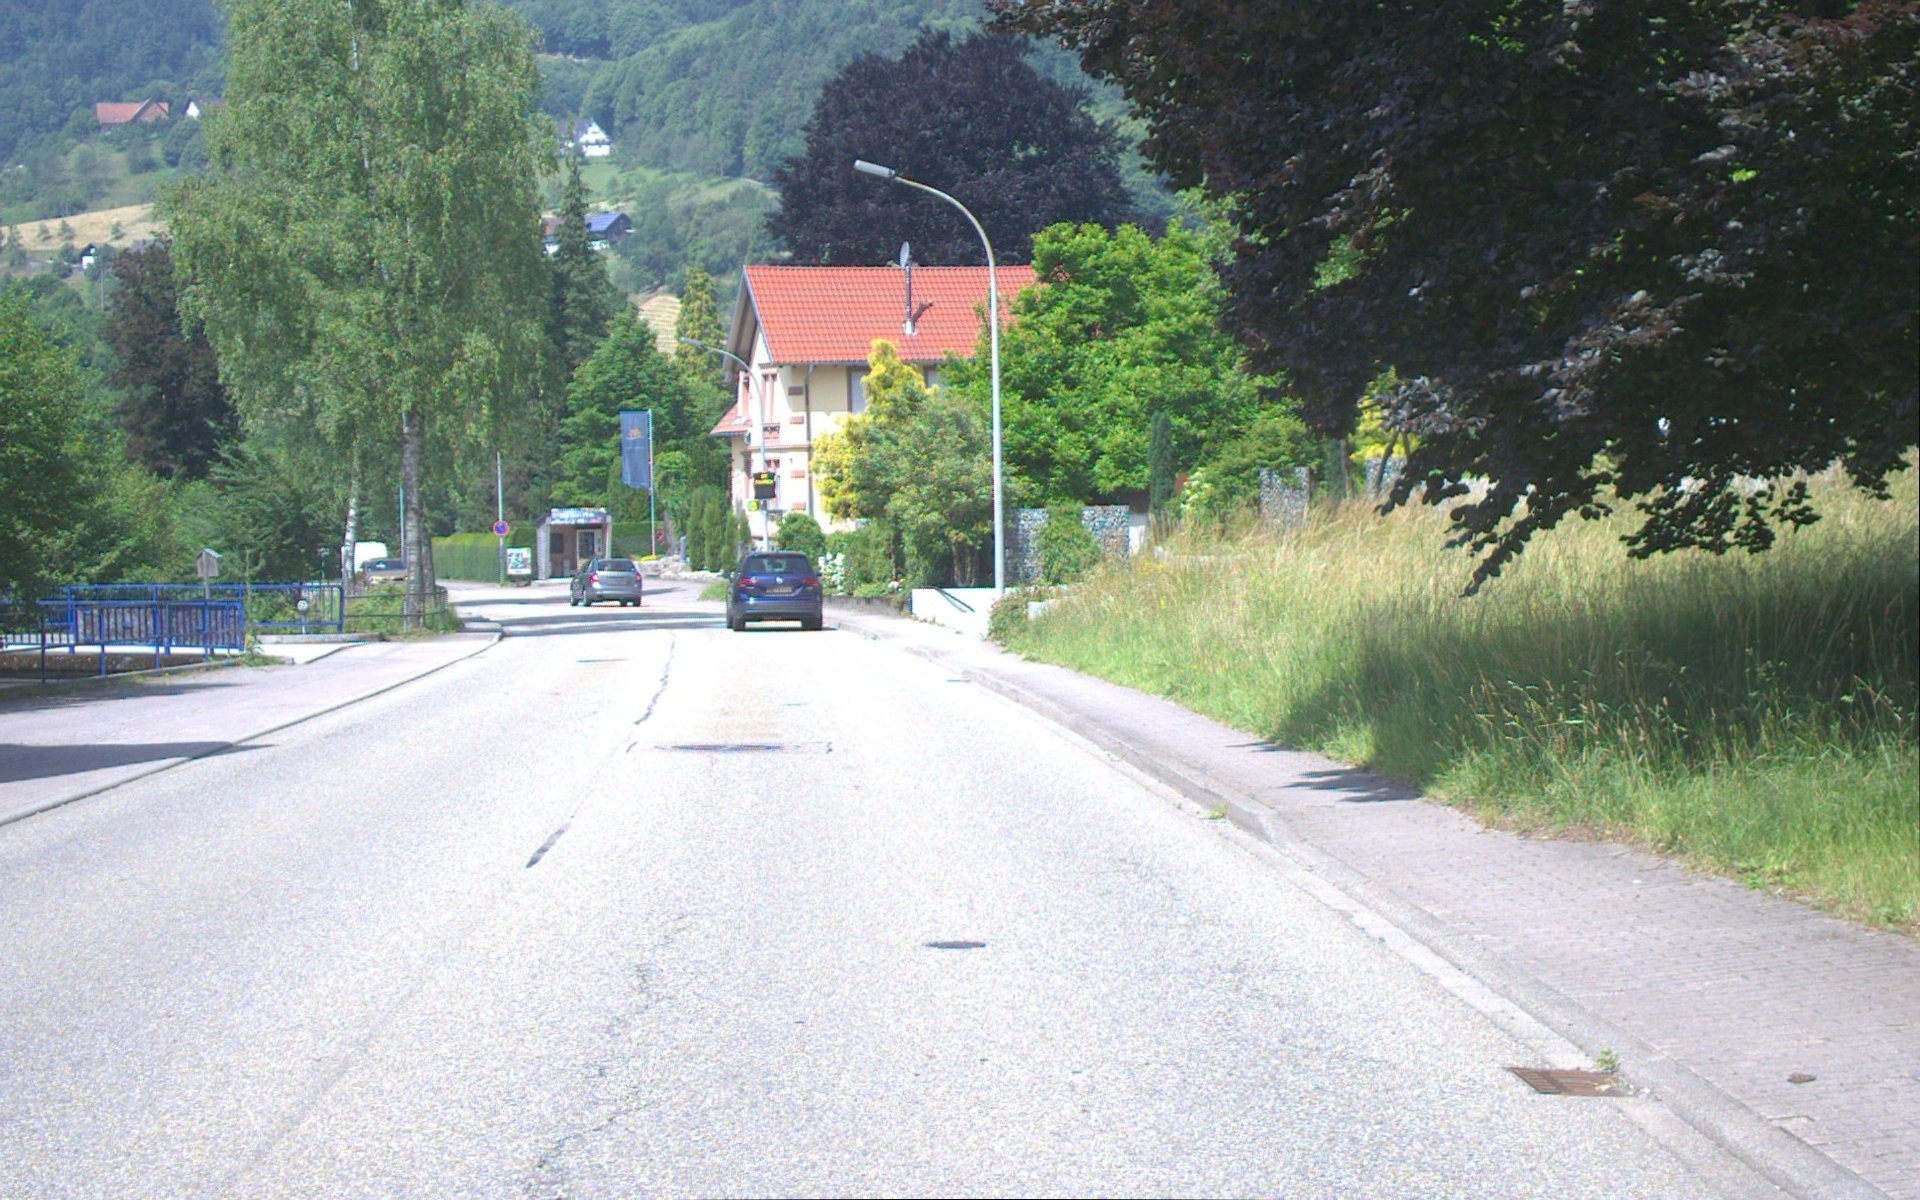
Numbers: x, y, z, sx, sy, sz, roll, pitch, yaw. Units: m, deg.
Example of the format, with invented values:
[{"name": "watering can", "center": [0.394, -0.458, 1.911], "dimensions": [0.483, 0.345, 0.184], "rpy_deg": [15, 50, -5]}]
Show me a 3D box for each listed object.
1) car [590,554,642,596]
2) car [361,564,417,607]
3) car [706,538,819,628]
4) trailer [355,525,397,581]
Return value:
[{"name": "car", "center": [-10.456, -0.766, 104.644], "dimensions": [1.476, 1.205, 2.384], "rpy_deg": [-2, 1, -4]}, {"name": "car", "center": [-21.497, -0.556, 129.414], "dimensions": [1.813, 1.495, 4.150], "rpy_deg": [-2, 1, -12]}, {"name": "car", "center": [-4.002, -0.358, 69.099], "dimensions": [1.919, 1.692, 3.789], "rpy_deg": [-2, 1, -8]}, {"name": "trailer", "center": [-22.722, -1.830, 133.752], "dimensions": [1.466, 2.070, 3.671], "rpy_deg": [-2, 1, -10]}]
